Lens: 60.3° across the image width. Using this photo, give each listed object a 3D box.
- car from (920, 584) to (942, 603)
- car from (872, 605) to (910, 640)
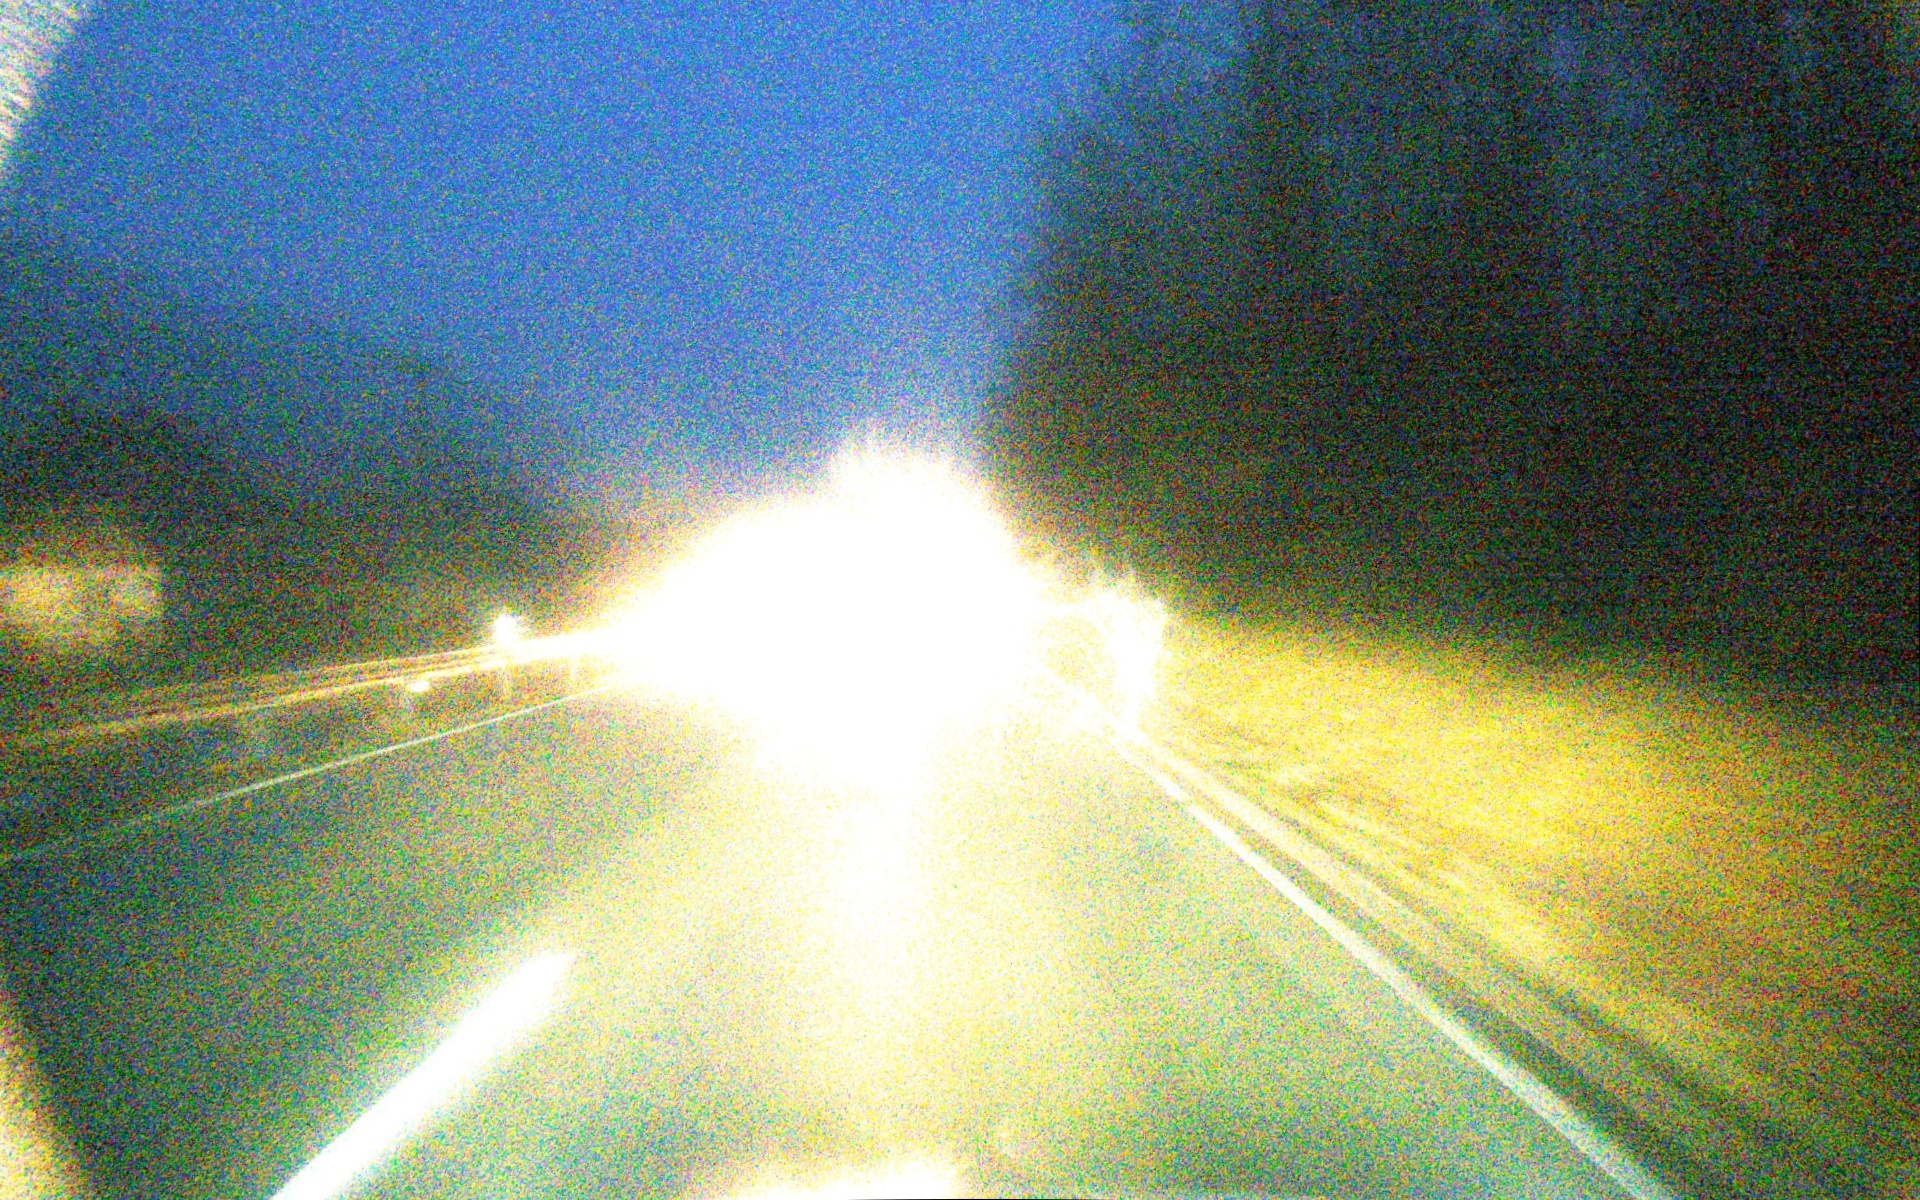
[{"bbox_3d":[-2.575,-0.572,147.489,1.953,1.695,3.999,0,0,-1],"label":"car"},{"bbox_3d":[-3.869,1.221,93.146,1.953,1.856,4.562,2,0,-1],"label":"car"}]
